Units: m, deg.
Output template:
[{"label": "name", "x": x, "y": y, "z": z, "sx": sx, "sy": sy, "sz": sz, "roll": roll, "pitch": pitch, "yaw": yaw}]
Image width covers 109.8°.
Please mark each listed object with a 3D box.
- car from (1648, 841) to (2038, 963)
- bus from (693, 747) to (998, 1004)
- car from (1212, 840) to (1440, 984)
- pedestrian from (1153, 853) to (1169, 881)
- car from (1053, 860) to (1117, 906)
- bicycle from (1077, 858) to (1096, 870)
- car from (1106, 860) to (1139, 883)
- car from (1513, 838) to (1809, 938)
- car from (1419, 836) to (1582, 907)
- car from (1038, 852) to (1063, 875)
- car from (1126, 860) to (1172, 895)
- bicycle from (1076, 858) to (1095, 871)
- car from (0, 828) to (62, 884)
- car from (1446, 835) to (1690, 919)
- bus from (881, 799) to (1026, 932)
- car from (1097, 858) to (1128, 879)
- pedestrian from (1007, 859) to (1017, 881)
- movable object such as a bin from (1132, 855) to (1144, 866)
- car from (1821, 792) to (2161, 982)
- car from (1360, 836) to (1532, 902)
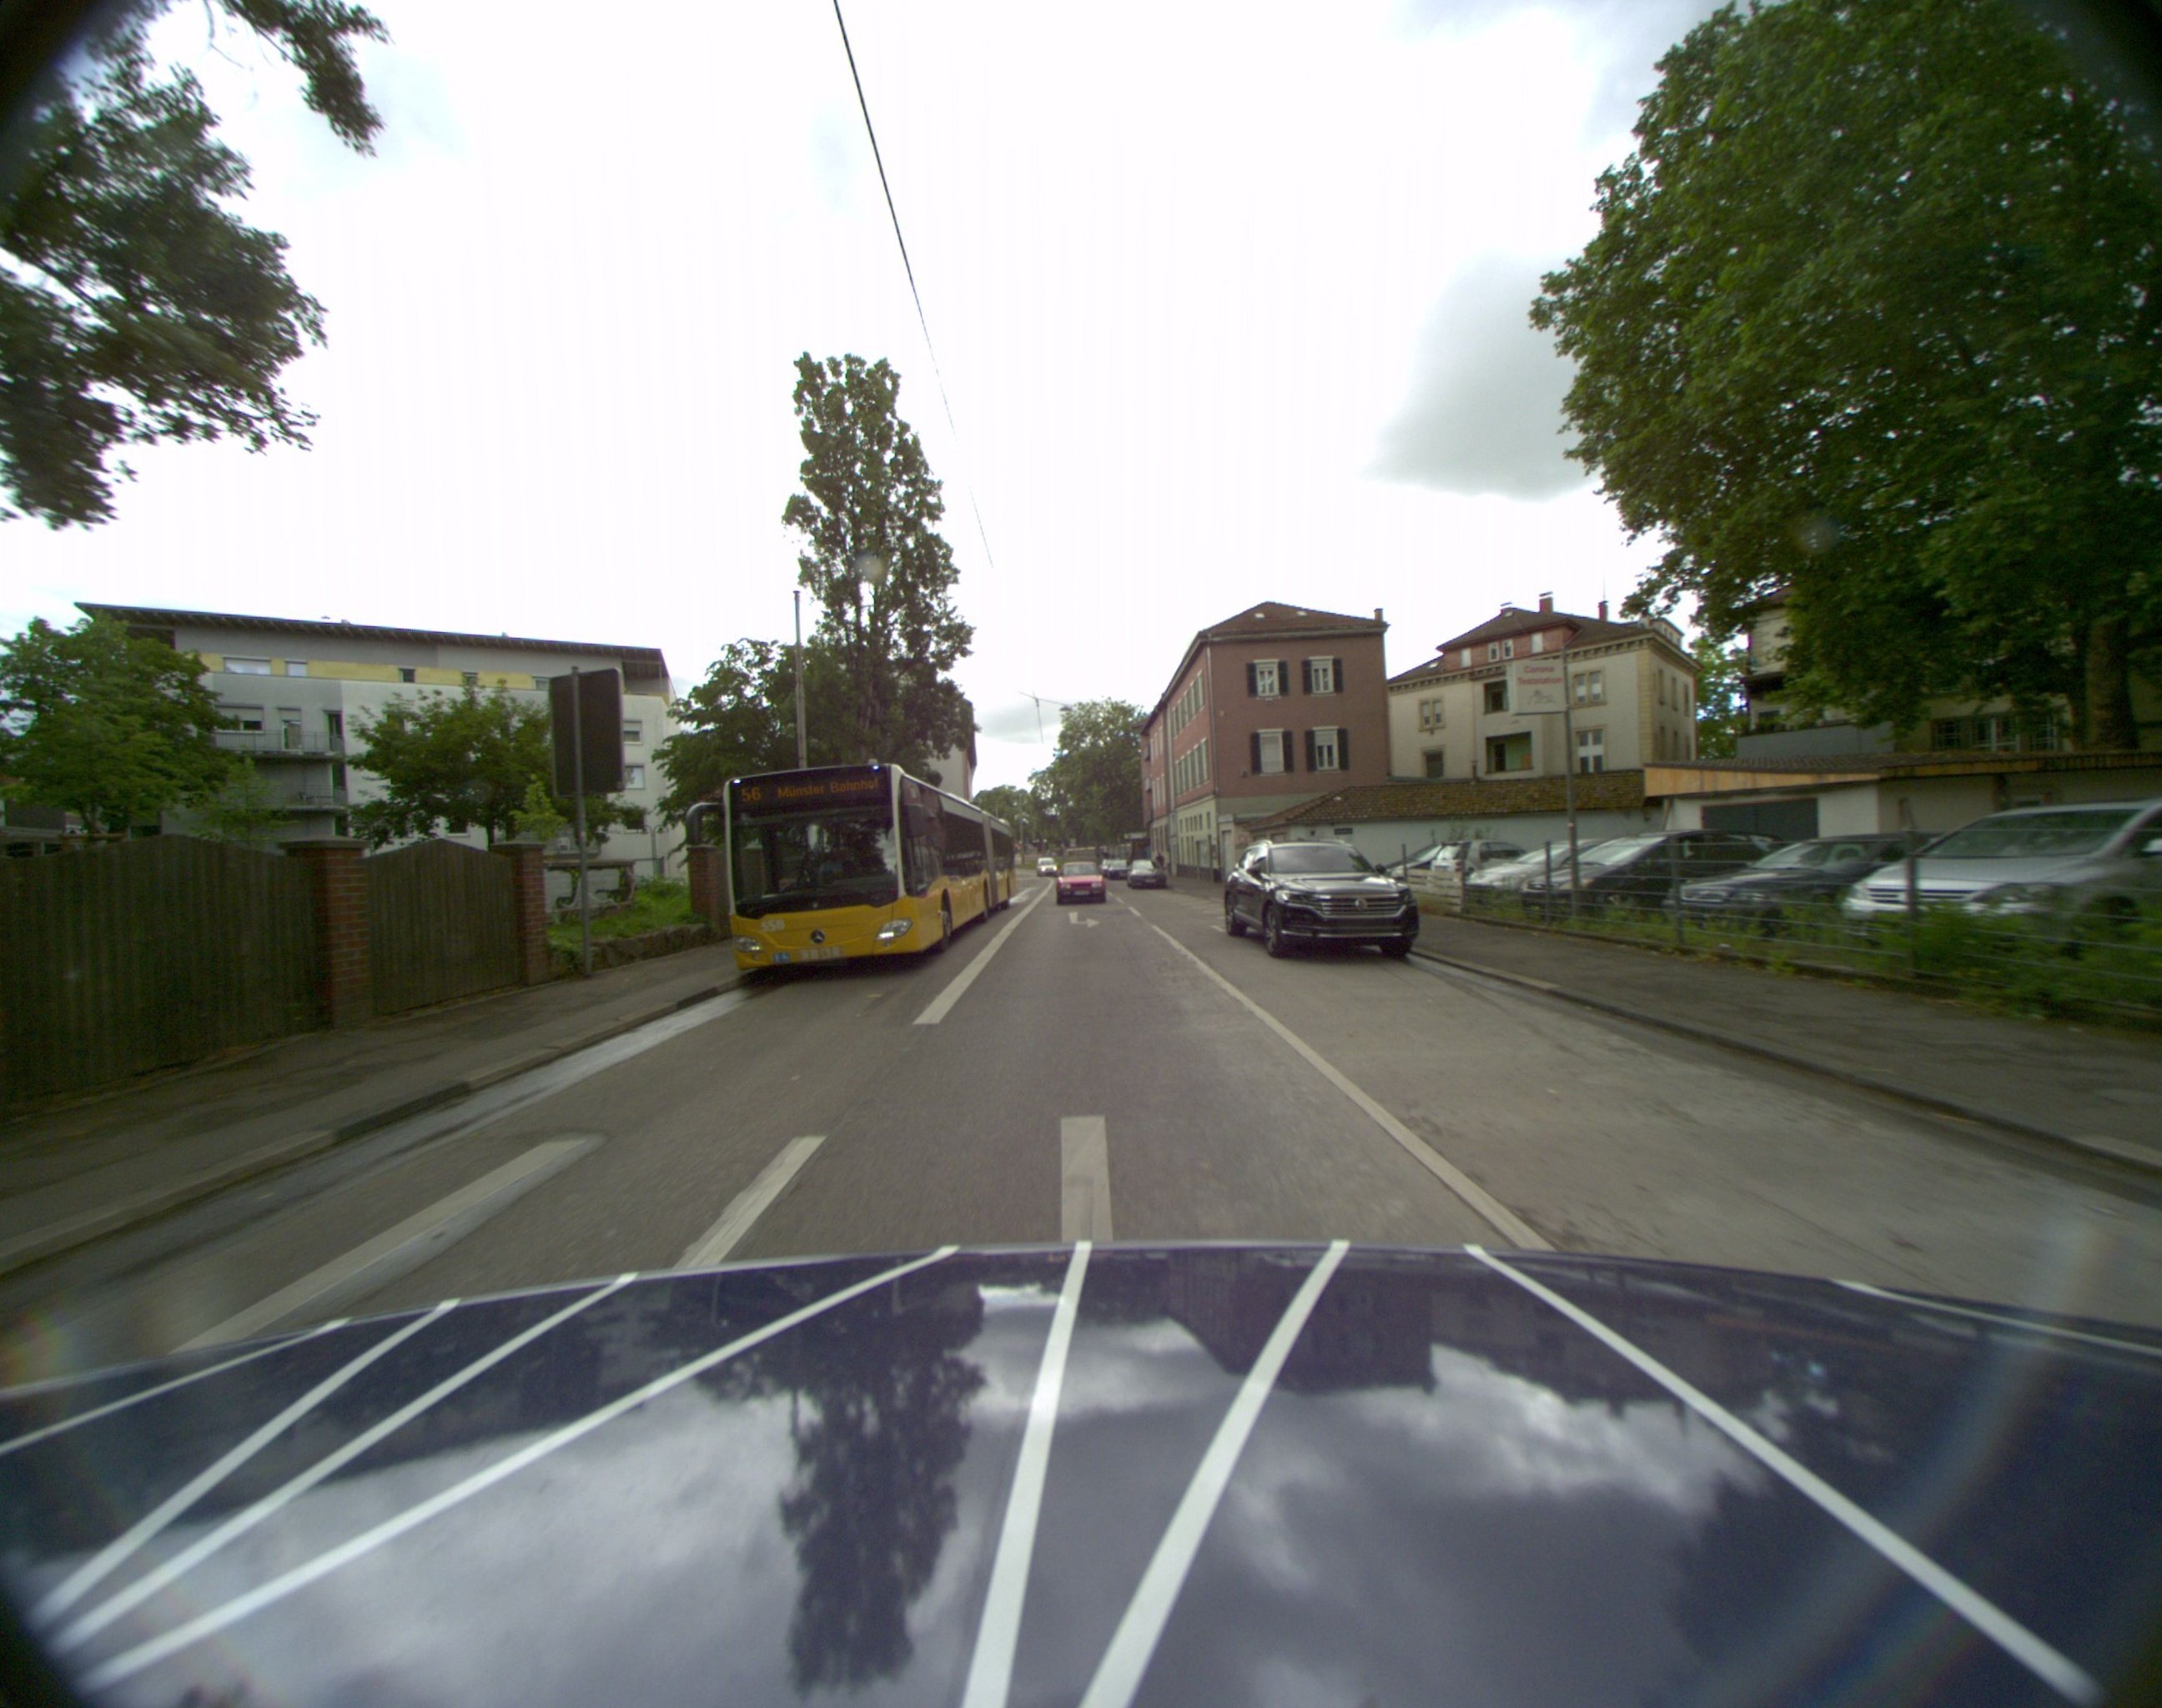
[{"label": "car", "x": 9.882, "y": 0.591, "z": 10.049, "sx": 3.605, "sy": 1.406, "sz": 1.547, "roll": -1, "pitch": 0, "yaw": 0}, {"label": "bus", "x": -3.550, "y": 0.289, "z": 14.459, "sx": 2.678, "sy": 3.120, "sz": 9.217, "roll": -5, "pitch": 0, "yaw": 0}, {"label": "car", "x": 3.524, "y": 0.760, "z": 12.027, "sx": 1.959, "sy": 1.723, "sz": 4.774, "roll": -3, "pitch": -1, "yaw": 0}, {"label": "pedestrian", "x": 5.173, "y": 0.871, "z": 49.073, "sx": 0.763, "sy": 1.733, "sz": 0.984, "roll": -5, "pitch": -1, "yaw": -3}, {"label": "car", "x": 0.061, "y": 0.978, "z": 26.801, "sx": 1.851, "sy": 1.414, "sz": 4.172, "roll": -2, "pitch": -1, "yaw": -5}, {"label": "bicycle", "x": 0.570, "y": 1.058, "z": 81.411, "sx": 1.875, "sy": 1.107, "sz": 0.577, "roll": -5, "pitch": 2, "yaw": -4}, {"label": "car", "x": 2.966, "y": 1.240, "z": 55.499, "sx": 1.834, "sy": 1.446, "sz": 4.919, "roll": -3, "pitch": 1, "yaw": -3}, {"label": "car", "x": 9.698, "y": 0.540, "z": 12.937, "sx": 3.605, "sy": 1.495, "sz": 1.853, "roll": -1, "pitch": 0, "yaw": 0}, {"label": "car", "x": 9.944, "y": 0.399, "z": 18.169, "sx": 2.854, "sy": 1.556, "sz": 1.853, "roll": -1, "pitch": 0, "yaw": 0}, {"label": "car", "x": -3.026, "y": 0.929, "z": 75.290, "sx": 2.073, "sy": 1.776, "sz": 4.453, "roll": -5, "pitch": 4, "yaw": -5}, {"label": "car", "x": 3.449, "y": 1.168, "z": 39.300, "sx": 1.883, "sy": 1.477, "sz": 4.126, "roll": -5, "pitch": 1, "yaw": 0}, {"label": "bicycle", "x": 0.462, "y": 1.134, "z": 80.436, "sx": 1.809, "sy": 1.169, "sz": 0.723, "roll": -5, "pitch": 2, "yaw": -25}, {"label": "car", "x": -33.496, "y": 0.136, "z": 21.295, "sx": 5.566, "sy": 1.580, "sz": 1.995, "roll": -2, "pitch": 2, "yaw": -24}, {"label": "car", "x": 9.689, "y": 0.433, "z": 15.344, "sx": 3.732, "sy": 1.495, "sz": 1.853, "roll": -1, "pitch": 0, "yaw": 0}, {"label": "bus", "x": -3.557, "y": 0.314, "z": 24.066, "sx": 2.669, "sy": 3.117, "sz": 10.039, "roll": -5, "pitch": 0, "yaw": 0}, {"label": "car", "x": 2.504, "y": 1.158, "z": 61.299, "sx": 1.834, "sy": 1.446, "sz": 4.582, "roll": -3, "pitch": 1, "yaw": -5}, {"label": "pedestrian", "x": -5.652, "y": 1.298, "z": 62.282, "sx": 0.805, "sy": 1.783, "sz": 0.942, "roll": -1, "pitch": -1, "yaw": -7}, {"label": "movable object such as a bin", "x": 6.045, "y": 0.691, "z": 80.656, "sx": 0.674, "sy": 0.959, "sz": 1.076, "roll": -8, "pitch": 2, "yaw": -44}, {"label": "car", "x": 9.825, "y": 0.255, "z": 7.386, "sx": 3.605, "sy": 1.602, "sz": 1.688, "roll": -1, "pitch": 0, "yaw": 0}, {"label": "car", "x": 9.848, "y": 0.385, "z": 20.716, "sx": 3.772, "sy": 1.633, "sz": 1.853, "roll": -1, "pitch": 0, "yaw": 0}]
